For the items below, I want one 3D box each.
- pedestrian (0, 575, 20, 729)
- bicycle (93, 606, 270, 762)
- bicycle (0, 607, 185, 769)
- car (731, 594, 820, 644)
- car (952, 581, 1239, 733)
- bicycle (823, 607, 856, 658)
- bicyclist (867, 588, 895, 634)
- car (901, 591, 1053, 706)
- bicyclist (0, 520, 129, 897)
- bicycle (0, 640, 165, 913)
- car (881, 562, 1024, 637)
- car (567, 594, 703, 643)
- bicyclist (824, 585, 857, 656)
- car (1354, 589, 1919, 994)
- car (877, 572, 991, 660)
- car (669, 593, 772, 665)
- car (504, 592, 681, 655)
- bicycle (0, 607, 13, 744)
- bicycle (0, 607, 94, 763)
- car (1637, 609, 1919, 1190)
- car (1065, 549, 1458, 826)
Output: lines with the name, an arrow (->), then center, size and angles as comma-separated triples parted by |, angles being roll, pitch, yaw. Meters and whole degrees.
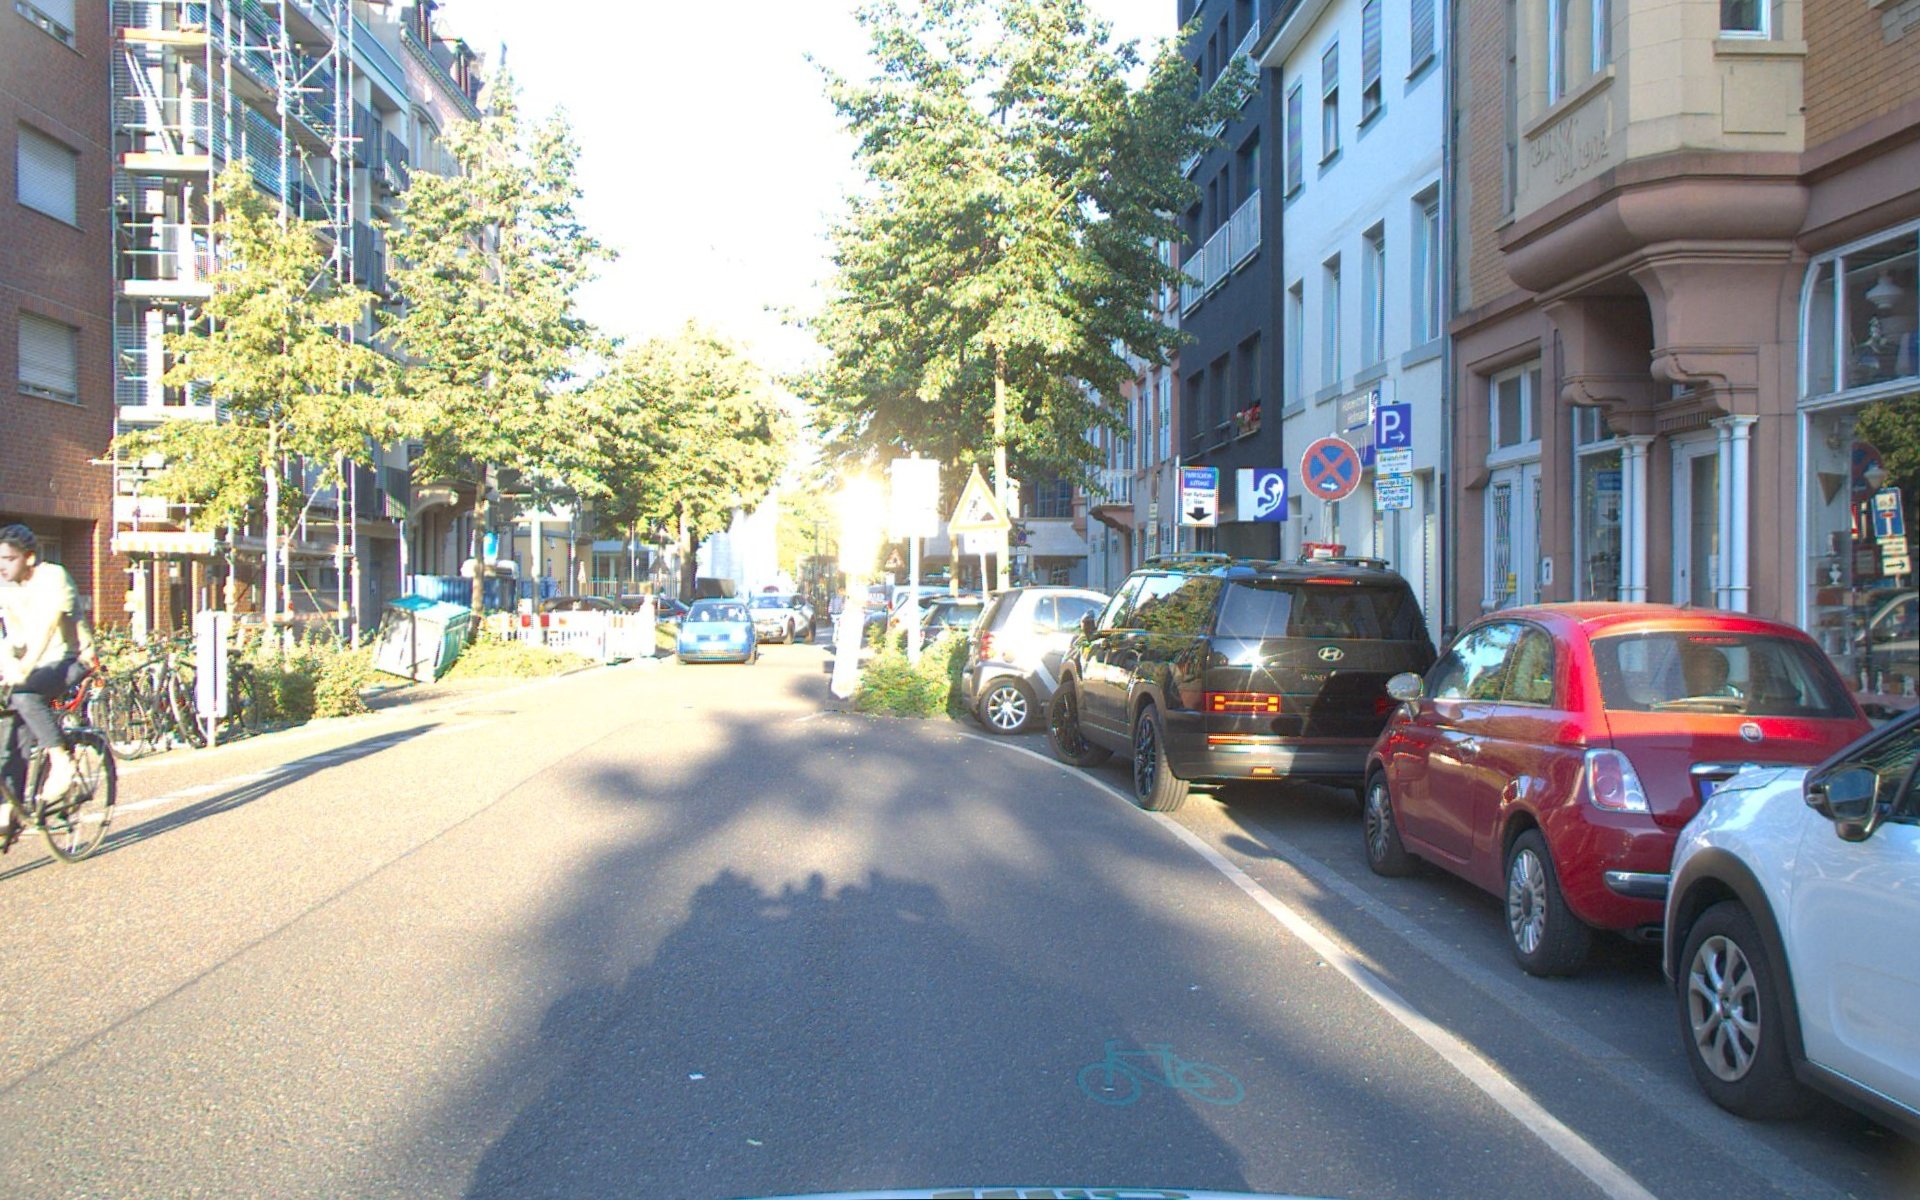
pedestrian -> -11.410, 0.589, 19.127 | 0.704, 1.771, 0.736 | 1, 0, -11
bicycle -> -7.624, 0.755, 16.378 | 0.829, 1.374, 3.178 | 0, 0, -11
bicycle -> -8.488, 0.782, 16.193 | 0.877, 1.420, 3.157 | 0, 0, -11
car -> -5.855, 0.583, 52.997 | 1.844, 1.506, 4.462 | 1, 0, 7
car -> 1.447, 0.613, 18.231 | 2.912, 1.563, 1.431 | 1, 0, -7
bicycle -> -2.994, 0.788, 40.919 | 0.765, 1.225, 2.018 | -1, 0, -5
bicyclist -> -3.021, 0.426, 62.924 | 0.985, 1.726, 0.782 | -1, 0, -8
car -> 0.181, 0.730, 26.893 | 1.955, 1.697, 4.504 | 1, 0, -6
bicyclist -> -4.973, 0.543, 8.665 | 0.765, 1.861, 1.006 | -1, 0, -5
bicycle -> -4.942, 0.854, 8.612 | 0.765, 1.225, 2.018 | -1, 0, -5
car -> -0.184, -0.017, 46.404 | 3.904, 2.049, 2.000 | 0, 0, 1
car -> -10.507, 0.597, 53.676 | 4.020, 1.491, 1.889 | 1, 0, -2
bicyclist -> -2.957, 0.504, 40.863 | 0.765, 1.726, 1.006 | -1, 0, -5
car -> 3.080, 0.733, 7.883 | 1.555, 1.509, 3.265 | 1, 0, -1
car -> -0.697, 0.371, 40.177 | 2.222, 1.796, 4.503 | 6, -1, -6
car -> -5.318, 0.605, 37.157 | 1.801, 1.466, 4.330 | -1, 0, -2
car -> -9.204, 0.580, 41.627 | 4.020, 1.491, 1.889 | 1, 0, -2
bicycle -> -9.984, 0.785, 15.850 | 0.574, 1.420, 3.152 | 1, 0, -11
bicycle -> -9.312, 0.782, 16.008 | 0.767, 1.397, 3.133 | 1, 0, -11
car -> 3.164, 0.741, 3.673 | 1.633, 1.402, 3.800 | 1, 0, -2
car -> 2.051, 0.562, 12.602 | 1.789, 1.725, 4.363 | 1, 0, -6
